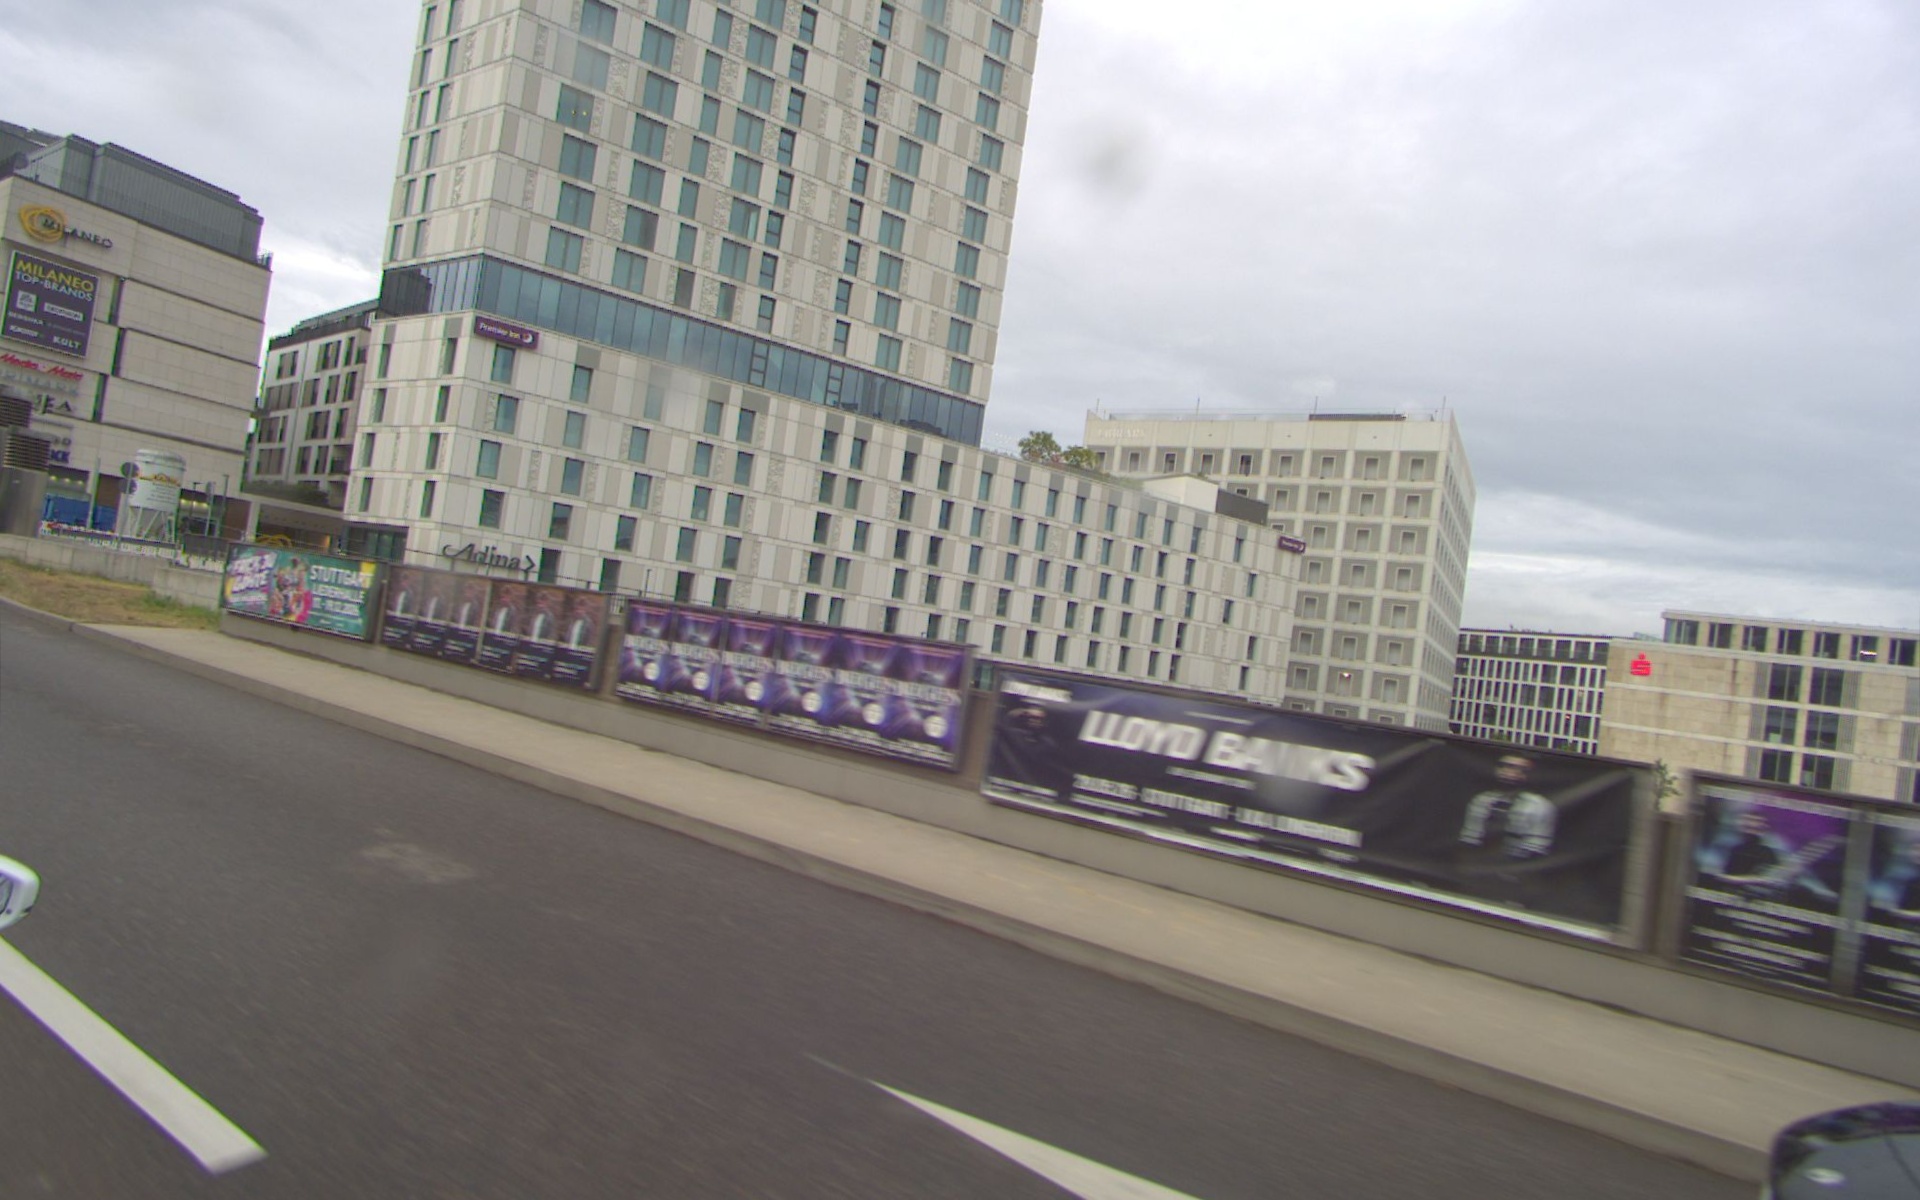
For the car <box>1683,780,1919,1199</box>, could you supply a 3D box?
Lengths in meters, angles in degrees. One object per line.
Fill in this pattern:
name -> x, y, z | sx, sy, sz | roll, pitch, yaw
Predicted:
car -> 3.236, 1.241, 0.826 | 4.086, 1.392, 1.727 | 5, -3, 31
